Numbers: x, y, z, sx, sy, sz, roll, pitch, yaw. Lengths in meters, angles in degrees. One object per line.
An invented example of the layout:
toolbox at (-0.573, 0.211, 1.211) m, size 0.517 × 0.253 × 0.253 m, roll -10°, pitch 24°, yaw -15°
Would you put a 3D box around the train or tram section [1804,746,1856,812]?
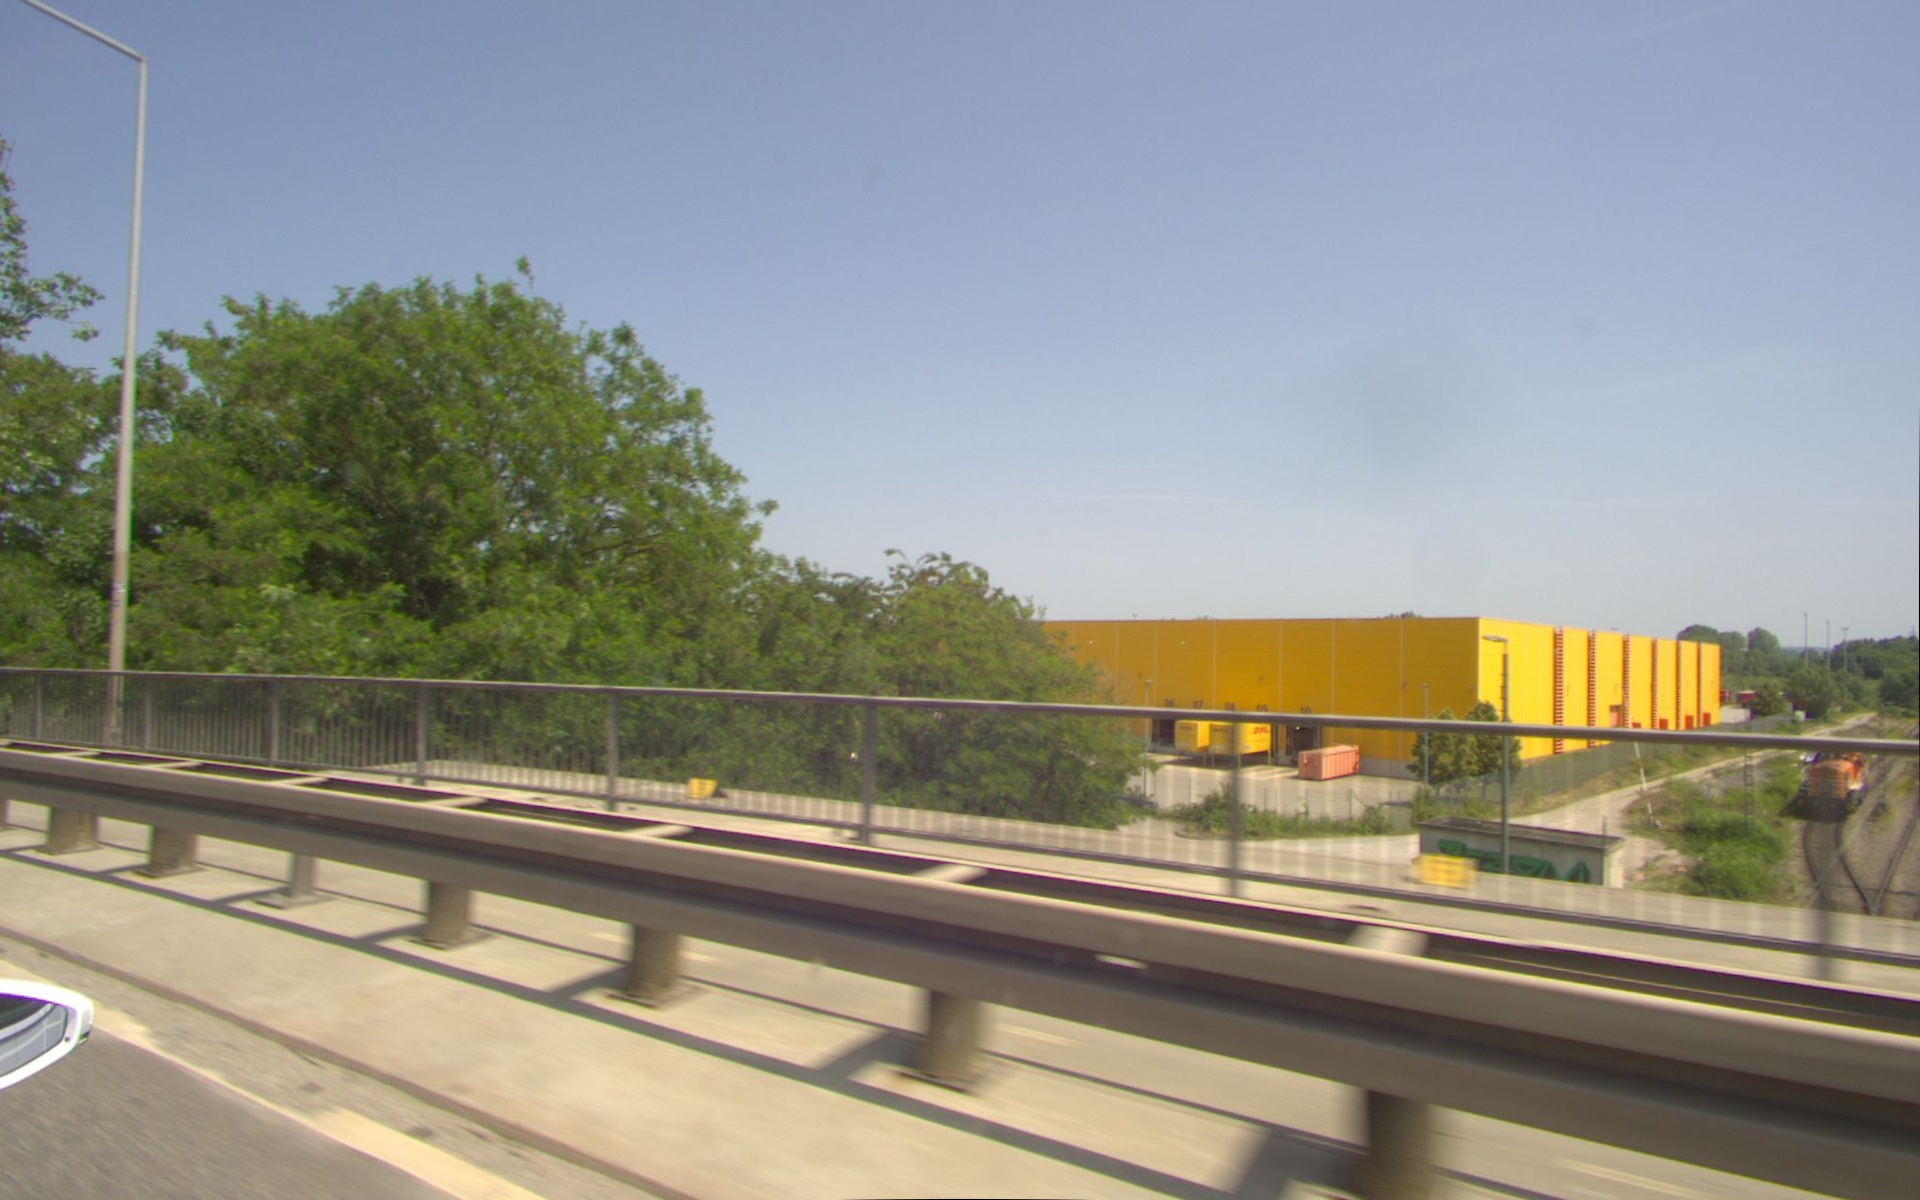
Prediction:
train or tram section at (62.006, 12.526, 71.235) m, size 2.215 × 3.734 × 13.897 m, roll 0°, pitch -4°, yaw 43°
